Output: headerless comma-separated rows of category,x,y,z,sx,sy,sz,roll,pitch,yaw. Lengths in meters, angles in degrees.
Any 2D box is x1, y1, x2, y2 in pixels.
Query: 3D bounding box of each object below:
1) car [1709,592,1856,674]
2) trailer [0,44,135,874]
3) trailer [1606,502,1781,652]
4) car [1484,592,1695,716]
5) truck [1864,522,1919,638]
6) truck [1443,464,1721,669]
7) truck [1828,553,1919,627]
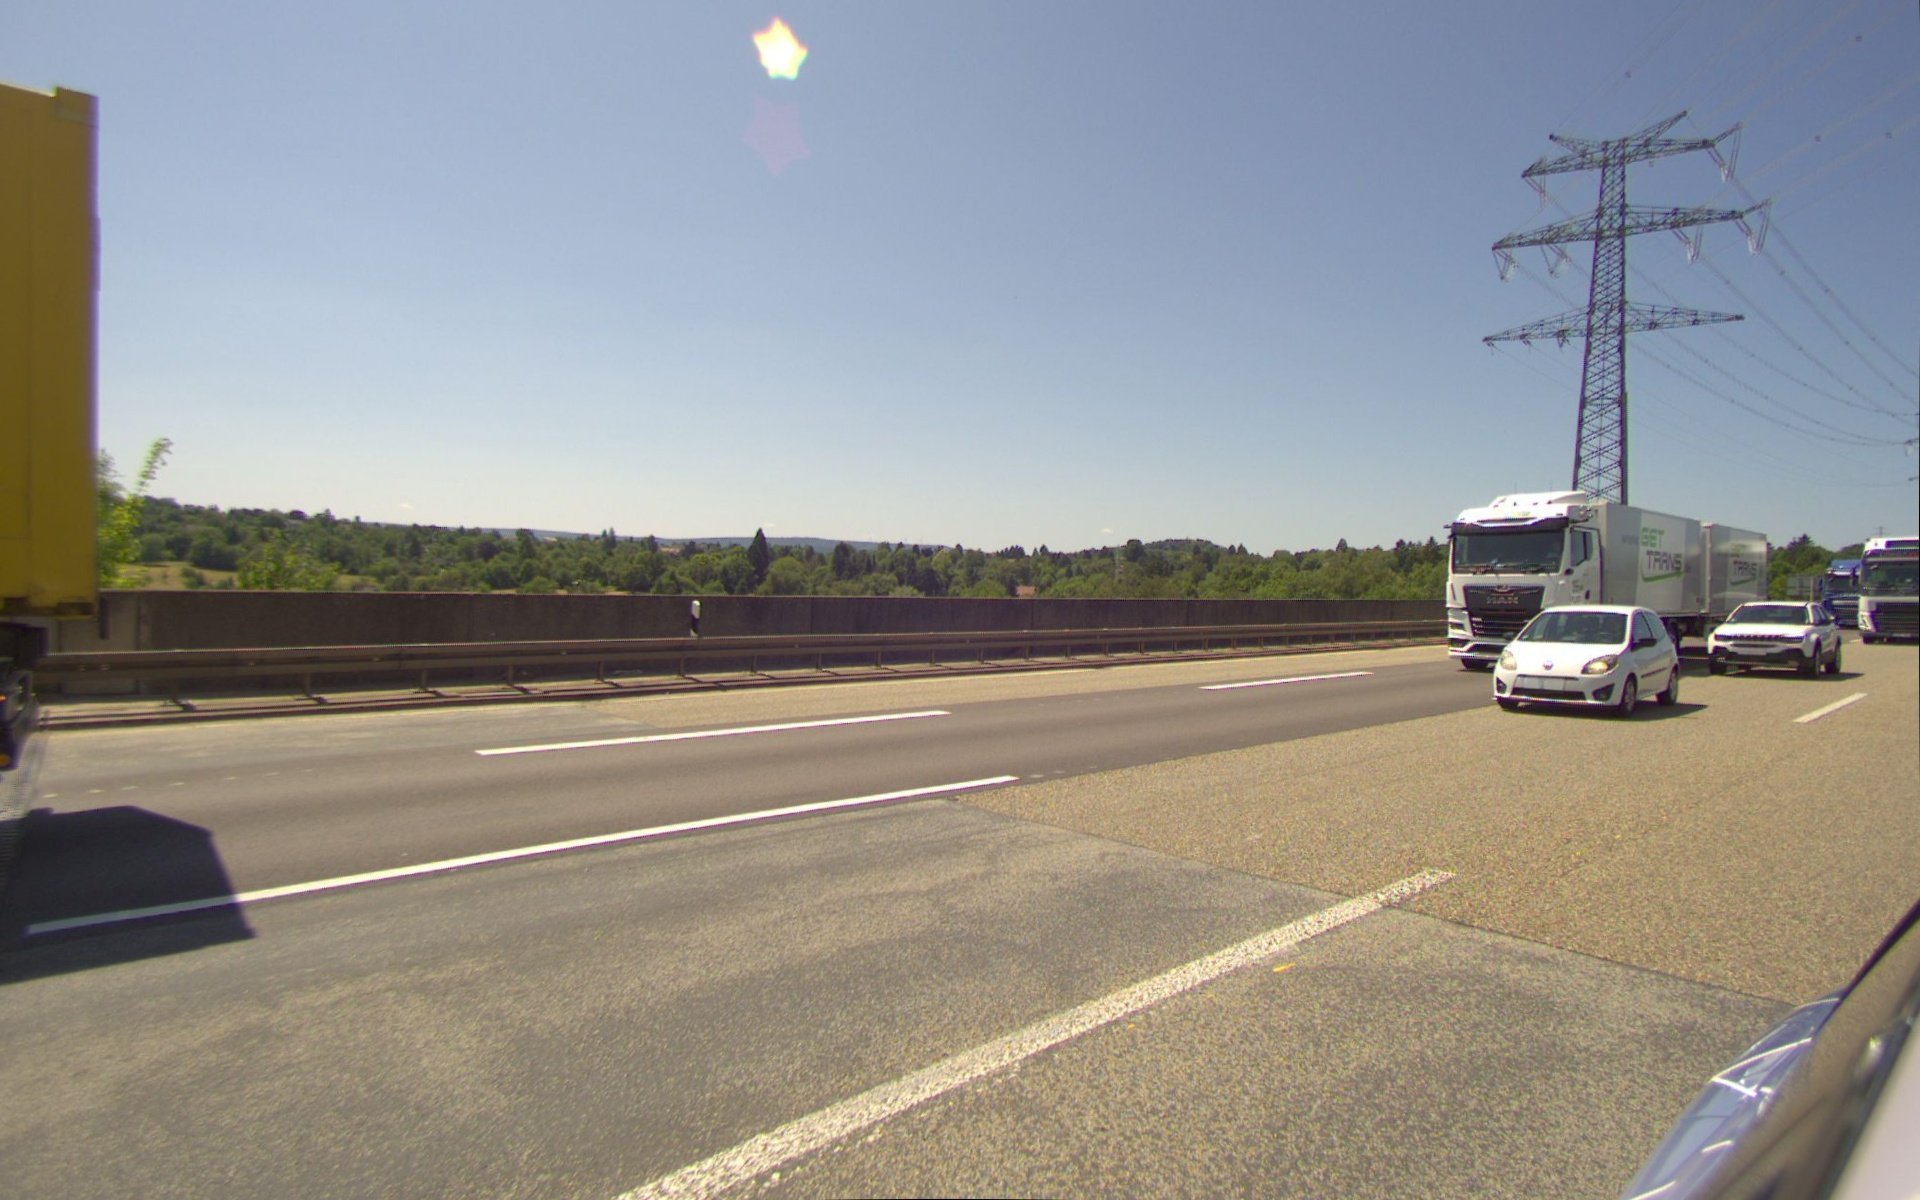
car,17.304,0.620,21.247,3.784,1.549,1.774,-1,0,-41
trailer,-8.758,-0.719,3.349,9.216,4.170,2.769,0,0,-42
trailer,22.339,-0.622,30.634,7.639,3.991,2.749,0,0,-42
car,9.153,0.666,14.601,3.761,1.529,1.657,-1,0,-43
truck,39.083,-0.689,40.441,14.006,4.090,2.715,0,0,-41
truck,15.344,-0.650,24.368,11.102,3.980,2.692,0,0,-42
truck,53.308,-0.596,58.921,11.081,3.929,2.837,-1,0,-42
